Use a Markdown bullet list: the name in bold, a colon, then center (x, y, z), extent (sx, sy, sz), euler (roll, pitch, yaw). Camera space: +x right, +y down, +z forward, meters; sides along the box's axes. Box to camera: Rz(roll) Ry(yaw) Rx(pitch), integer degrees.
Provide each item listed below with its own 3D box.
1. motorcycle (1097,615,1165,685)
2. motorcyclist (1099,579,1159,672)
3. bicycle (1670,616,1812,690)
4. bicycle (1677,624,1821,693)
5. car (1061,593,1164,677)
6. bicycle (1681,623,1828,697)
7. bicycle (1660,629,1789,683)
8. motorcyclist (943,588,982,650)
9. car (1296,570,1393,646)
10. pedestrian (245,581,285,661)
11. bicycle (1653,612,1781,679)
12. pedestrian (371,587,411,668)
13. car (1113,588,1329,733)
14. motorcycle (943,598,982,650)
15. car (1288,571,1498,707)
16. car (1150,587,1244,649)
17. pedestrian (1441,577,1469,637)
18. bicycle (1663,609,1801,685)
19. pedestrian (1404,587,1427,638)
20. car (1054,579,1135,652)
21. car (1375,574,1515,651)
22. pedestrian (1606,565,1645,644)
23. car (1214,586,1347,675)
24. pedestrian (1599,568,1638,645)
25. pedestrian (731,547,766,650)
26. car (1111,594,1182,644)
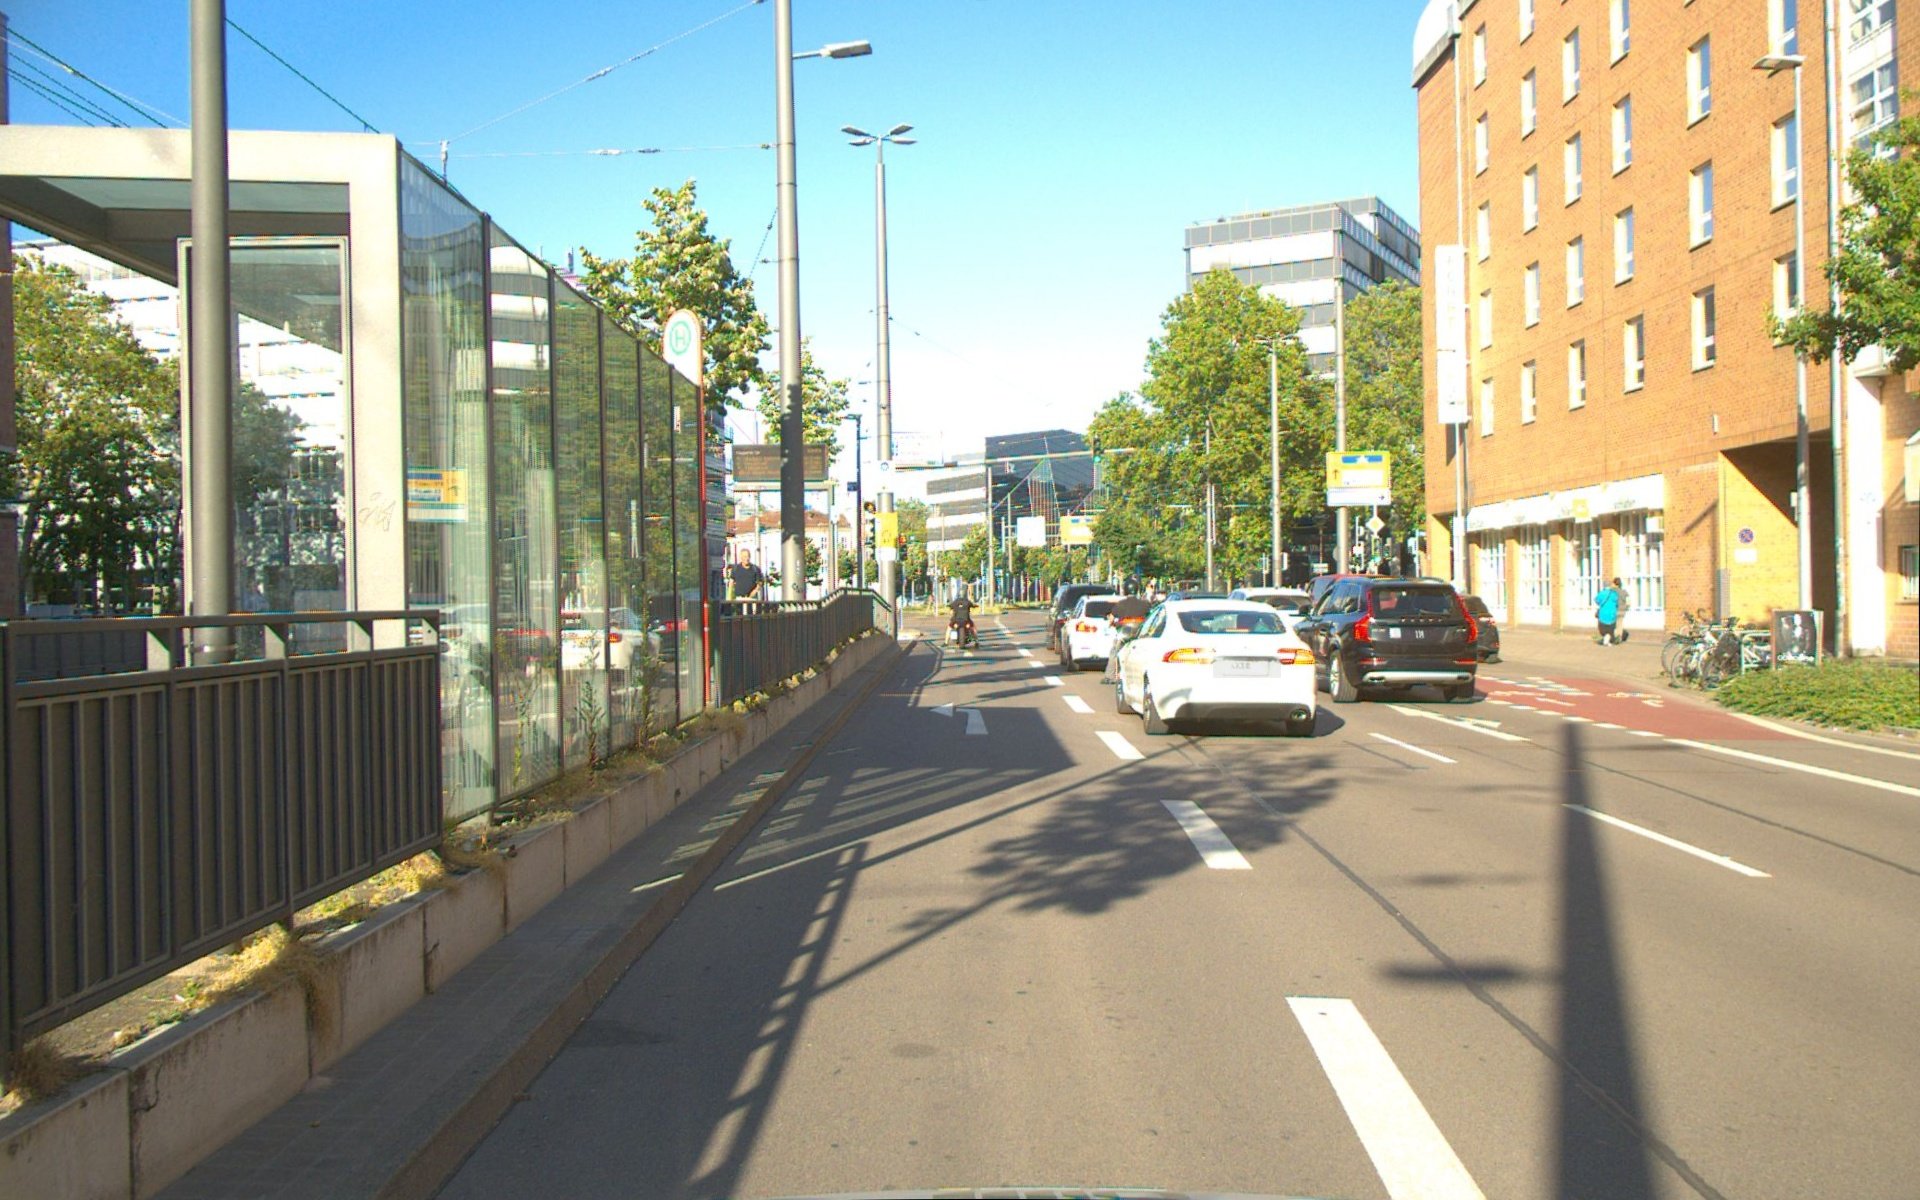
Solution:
- **motorcycle**: center (2.817, 0.806, 27.549), extent (0.820, 1.081, 2.552), euler (-1, 0, -1)
- **motorcyclist**: center (2.802, 0.409, 27.514), extent (0.820, 1.501, 1.236), euler (-1, 0, -1)
- **bicycle**: center (12.267, 0.835, 26.028), extent (1.903, 1.094, 0.555), euler (-2, -1, 11)
- **bicycle**: center (12.051, 0.893, 25.319), extent (1.904, 0.986, 0.554), euler (-2, -1, 18)
- **car**: center (2.969, 0.652, 32.877), extent (1.658, 1.523, 4.409), euler (1, 0, 1)
- **bicycle**: center (11.890, 0.898, 24.803), extent (1.904, 1.040, 0.502), euler (-2, -1, 18)
- **bicycle**: center (12.707, 0.939, 27.510), extent (1.907, 0.850, 0.554), euler (-2, -1, 27)
- **motorcyclist**: center (0.070, 0.502, 44.486), extent (0.998, 1.631, 1.148), euler (1, 0, 0)
- **car**: center (10.609, 0.212, 45.863), extent (1.822, 1.995, 4.001), euler (-1, 0, 2)
- **pedestrian**: center (-14.326, 0.433, 34.114), extent (0.552, 1.637, 0.616), euler (0, 0, 0)
- **bicycle**: center (13.220, 0.791, 28.931), extent (1.903, 1.093, 0.626), euler (-2, -1, 12)
- **pedestrian**: center (-13.256, 0.629, 38.534), extent (0.601, 1.849, 0.897), euler (0, 0, 0)
- **car**: center (2.884, 0.613, 19.245), extent (1.744, 1.439, 4.818), euler (1, 0, 0)
- **motorcycle**: center (0.073, 0.619, 44.441), extent (0.998, 1.335, 2.914), euler (1, 0, 1)
- **car**: center (6.280, 0.516, 24.542), extent (1.934, 1.790, 4.632), euler (1, 0, 1)
- **car**: center (6.090, 0.444, 42.957), extent (1.813, 1.524, 4.379), euler (0, 0, 0)
- **pedestrian**: center (15.386, 0.215, 51.421), extent (0.594, 1.853, 0.748), euler (-1, -1, -1)
- **bicycle**: center (12.370, 0.750, 26.549), extent (1.903, 1.157, 0.491), euler (-2, -1, 11)
- **pedestrian**: center (16.797, 0.449, 61.010), extent (0.594, 1.853, 0.748), euler (-1, -1, -1)
- **car**: center (3.325, 0.359, 41.525), extent (1.761, 1.735, 4.063), euler (0, 0, 1)
- **car**: center (10.796, 0.263, 37.174), extent (1.808, 1.588, 4.632), euler (1, 0, 1)
- **pedestrian**: center (15.826, 0.112, 39.349), extent (0.594, 1.853, 0.748), euler (-1, -1, -1)
- **car**: center (6.314, 0.561, 33.035), extent (1.813, 1.668, 4.379), euler (0, 0, 0)
- **pedestrian**: center (15.981, 0.163, 40.141), extent (0.594, 1.853, 0.748), euler (-1, -1, -1)
- **pedestrian**: center (-3.526, -0.018, 27.585), extent (0.509, 1.698, 0.550), euler (0, 0, 0)
- **car**: center (5.981, 0.580, 53.392), extent (1.813, 1.524, 4.379), euler (0, 0, 0)
